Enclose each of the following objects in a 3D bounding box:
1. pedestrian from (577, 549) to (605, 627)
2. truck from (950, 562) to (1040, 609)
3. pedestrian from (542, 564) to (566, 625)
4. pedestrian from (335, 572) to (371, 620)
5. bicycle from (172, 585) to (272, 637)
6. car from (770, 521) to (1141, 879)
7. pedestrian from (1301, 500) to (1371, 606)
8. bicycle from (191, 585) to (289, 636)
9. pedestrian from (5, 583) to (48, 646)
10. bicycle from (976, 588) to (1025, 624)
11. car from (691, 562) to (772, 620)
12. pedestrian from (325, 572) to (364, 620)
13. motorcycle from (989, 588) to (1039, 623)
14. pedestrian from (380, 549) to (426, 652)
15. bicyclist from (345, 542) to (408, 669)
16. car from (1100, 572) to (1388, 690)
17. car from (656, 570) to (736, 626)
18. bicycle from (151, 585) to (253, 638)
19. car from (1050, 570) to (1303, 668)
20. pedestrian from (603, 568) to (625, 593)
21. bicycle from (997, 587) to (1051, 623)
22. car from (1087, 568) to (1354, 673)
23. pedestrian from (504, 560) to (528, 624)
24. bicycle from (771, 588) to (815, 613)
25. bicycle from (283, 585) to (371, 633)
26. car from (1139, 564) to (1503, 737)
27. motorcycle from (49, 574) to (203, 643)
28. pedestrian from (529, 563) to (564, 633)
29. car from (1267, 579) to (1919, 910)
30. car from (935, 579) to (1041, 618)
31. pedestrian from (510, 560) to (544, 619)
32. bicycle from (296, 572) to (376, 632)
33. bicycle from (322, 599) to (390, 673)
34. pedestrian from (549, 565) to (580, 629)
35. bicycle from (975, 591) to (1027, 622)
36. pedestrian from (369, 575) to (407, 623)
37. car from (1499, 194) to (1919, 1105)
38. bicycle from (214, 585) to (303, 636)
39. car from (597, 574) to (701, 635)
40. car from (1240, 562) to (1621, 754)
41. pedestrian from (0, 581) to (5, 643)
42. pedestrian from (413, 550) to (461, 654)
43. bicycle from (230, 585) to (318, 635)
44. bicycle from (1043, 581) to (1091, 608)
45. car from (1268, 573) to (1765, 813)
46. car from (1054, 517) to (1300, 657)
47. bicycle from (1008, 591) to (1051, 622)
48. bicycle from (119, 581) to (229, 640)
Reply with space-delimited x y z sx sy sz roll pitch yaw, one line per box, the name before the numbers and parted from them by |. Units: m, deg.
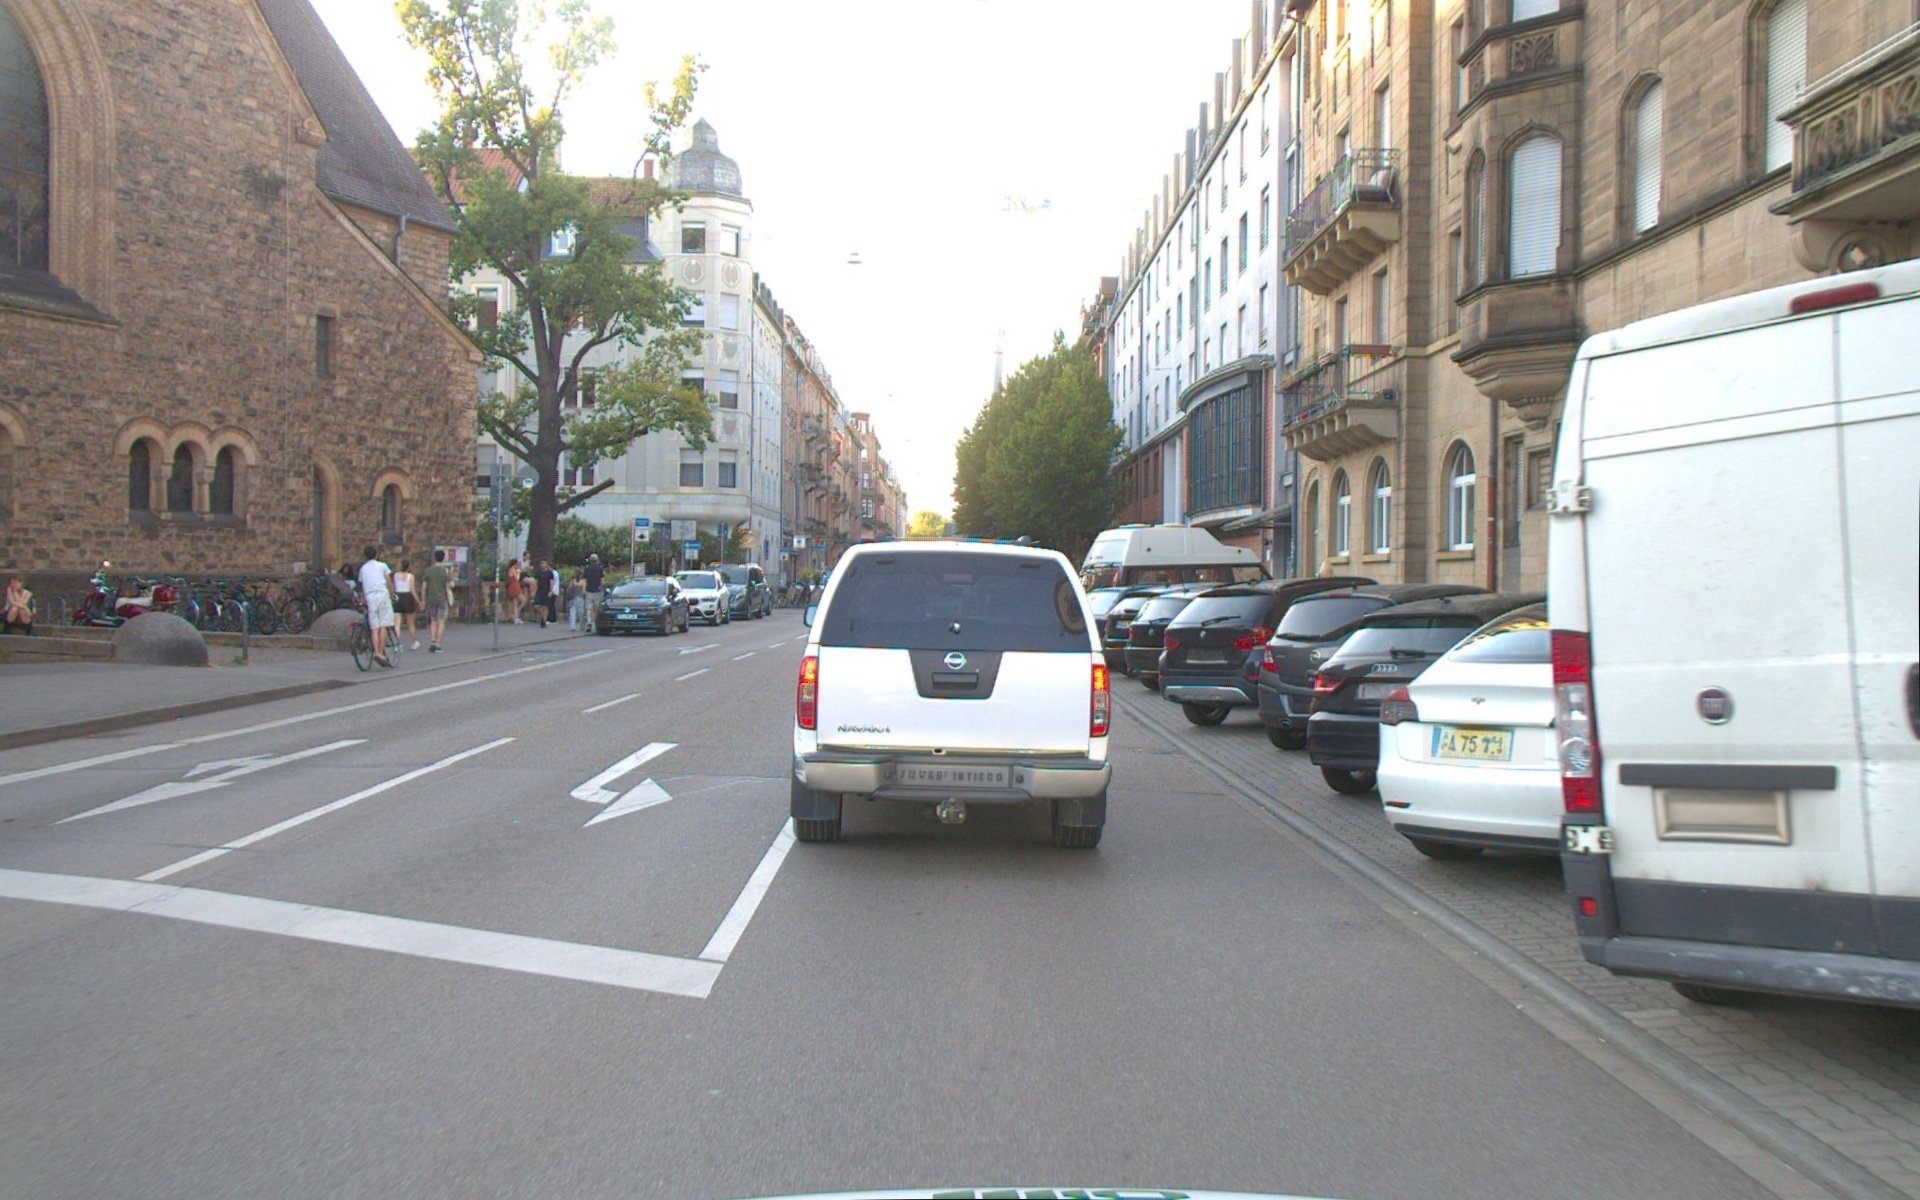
pedestrian | -9.258 -0.292 41.513 0.570 1.938 0.802 0 0 -4
truck | 2.477 -0.990 115.893 6.190 3.029 2.264 1 -2 1
pedestrian | -10.955 -0.149 44.607 0.411 1.650 0.541 1 0 -40
pedestrian | -13.747 -0.086 37.468 0.487 1.066 0.608 1 0 20
bicycle | -14.679 0.215 32.904 1.959 1.006 0.466 1 0 15
car | -0.053 0.483 10.797 1.894 1.826 4.621 0 1 -1
pedestrian | 7.624 -0.960 33.595 0.598 2.036 0.858 20 2 2
bicycle | -14.533 0.205 33.374 1.942 1.006 0.466 1 0 15
pedestrian | -15.229 0.226 26.980 0.555 1.009 0.688 0 0 -34
bicycle | 1.418 0.208 58.358 1.673 1.196 0.472 -1 0 -2
car | -7.845 -0.325 57.252 1.952 1.899 5.290 1 1 1
pedestrian | -13.680 -0.091 36.743 0.729 1.066 0.515 0 0 -31
motorcycle | 1.849 0.181 56.577 1.614 1.121 0.646 -2 1 -9
pedestrian | -10.394 0.011 30.894 0.561 1.889 0.988 1 0 -3
bicyclist | -9.026 0.075 25.576 0.698 1.913 0.932 2 0 -32
car | 4.169 0.411 24.101 3.988 1.456 1.846 -3 1 -35
car | -7.951 -0.089 50.131 1.833 1.619 4.467 0 1 -2
bicycle | -14.861 0.218 32.426 1.959 1.006 0.466 1 0 15
car | 3.923 0.302 29.763 4.341 1.512 1.824 -3 1 -31
pedestrian | -13.739 -0.767 65.711 0.692 0.997 0.837 0 0 -2
bicycle | 2.237 0.180 57.731 1.821 1.166 0.659 -3 1 -1
car | 4.273 0.328 27.038 4.062 1.573 1.778 -1 -1 -29
pedestrian | -11.839 -0.212 44.138 0.411 1.704 0.541 1 0 -40
bicycle | -7.895 -0.003 78.152 2.068 1.114 0.501 2 2 25
bicycle | -13.595 0.178 35.513 1.838 1.006 0.442 1 0 15
car | 4.074 0.482 18.371 4.058 1.635 1.791 -2 1 -39
motorcycle | -15.175 0.146 30.124 2.364 1.145 0.822 3 1 3
pedestrian | -10.560 -0.053 42.236 0.699 1.755 0.692 0 0 0
car | 3.955 0.658 9.760 4.213 1.478 1.972 -2 0 -39
car | 1.113 -0.081 66.263 3.944 1.533 1.753 0 1 -30
pedestrian | -11.737 -0.281 44.860 0.637 1.572 0.585 1 0 23
bicycle | -13.567 0.032 35.962 1.691 1.270 0.437 1 0 14
bicycle | -9.293 0.534 25.404 0.546 1.030 2.165 2 1 -31
pedestrian | -9.906 -0.078 41.453 0.570 1.579 0.839 1 0 -4
bicycle | 1.465 0.229 59.505 1.820 1.056 0.472 -1 0 -2
pedestrian | -13.014 -0.028 37.621 0.505 1.074 0.700 1 0 16
car | 4.776 0.094 6.816 5.834 2.596 2.163 -1 -1 -42
bicycle | -14.365 0.213 33.858 1.838 1.006 0.370 1 0 15
car | -7.864 0.082 42.123 1.746 1.460 4.316 0 1 1
car | 4.611 0.490 15.949 3.883 1.571 1.691 -2 0 -42
pedestrian | -15.691 0.186 26.594 0.555 0.984 0.642 0 0 -34
pedestrian | -9.792 0.032 30.998 0.634 1.912 0.891 1 0 -4
bicycle | -14.225 0.209 34.293 1.838 1.006 0.370 1 0 14
bicycle | 5.630 -0.305 87.163 2.481 1.403 0.599 0 0 2
car | 4.333 0.609 12.641 3.881 1.471 1.847 -2 0 -41
car | 4.311 -0.234 32.691 4.660 2.591 1.899 0 0 -30
bicycle | 2.472 0.226 58.938 1.508 1.056 0.472 -1 0 -2
bicycle | -15.104 0.197 31.800 1.959 1.006 0.586 4 1 15
